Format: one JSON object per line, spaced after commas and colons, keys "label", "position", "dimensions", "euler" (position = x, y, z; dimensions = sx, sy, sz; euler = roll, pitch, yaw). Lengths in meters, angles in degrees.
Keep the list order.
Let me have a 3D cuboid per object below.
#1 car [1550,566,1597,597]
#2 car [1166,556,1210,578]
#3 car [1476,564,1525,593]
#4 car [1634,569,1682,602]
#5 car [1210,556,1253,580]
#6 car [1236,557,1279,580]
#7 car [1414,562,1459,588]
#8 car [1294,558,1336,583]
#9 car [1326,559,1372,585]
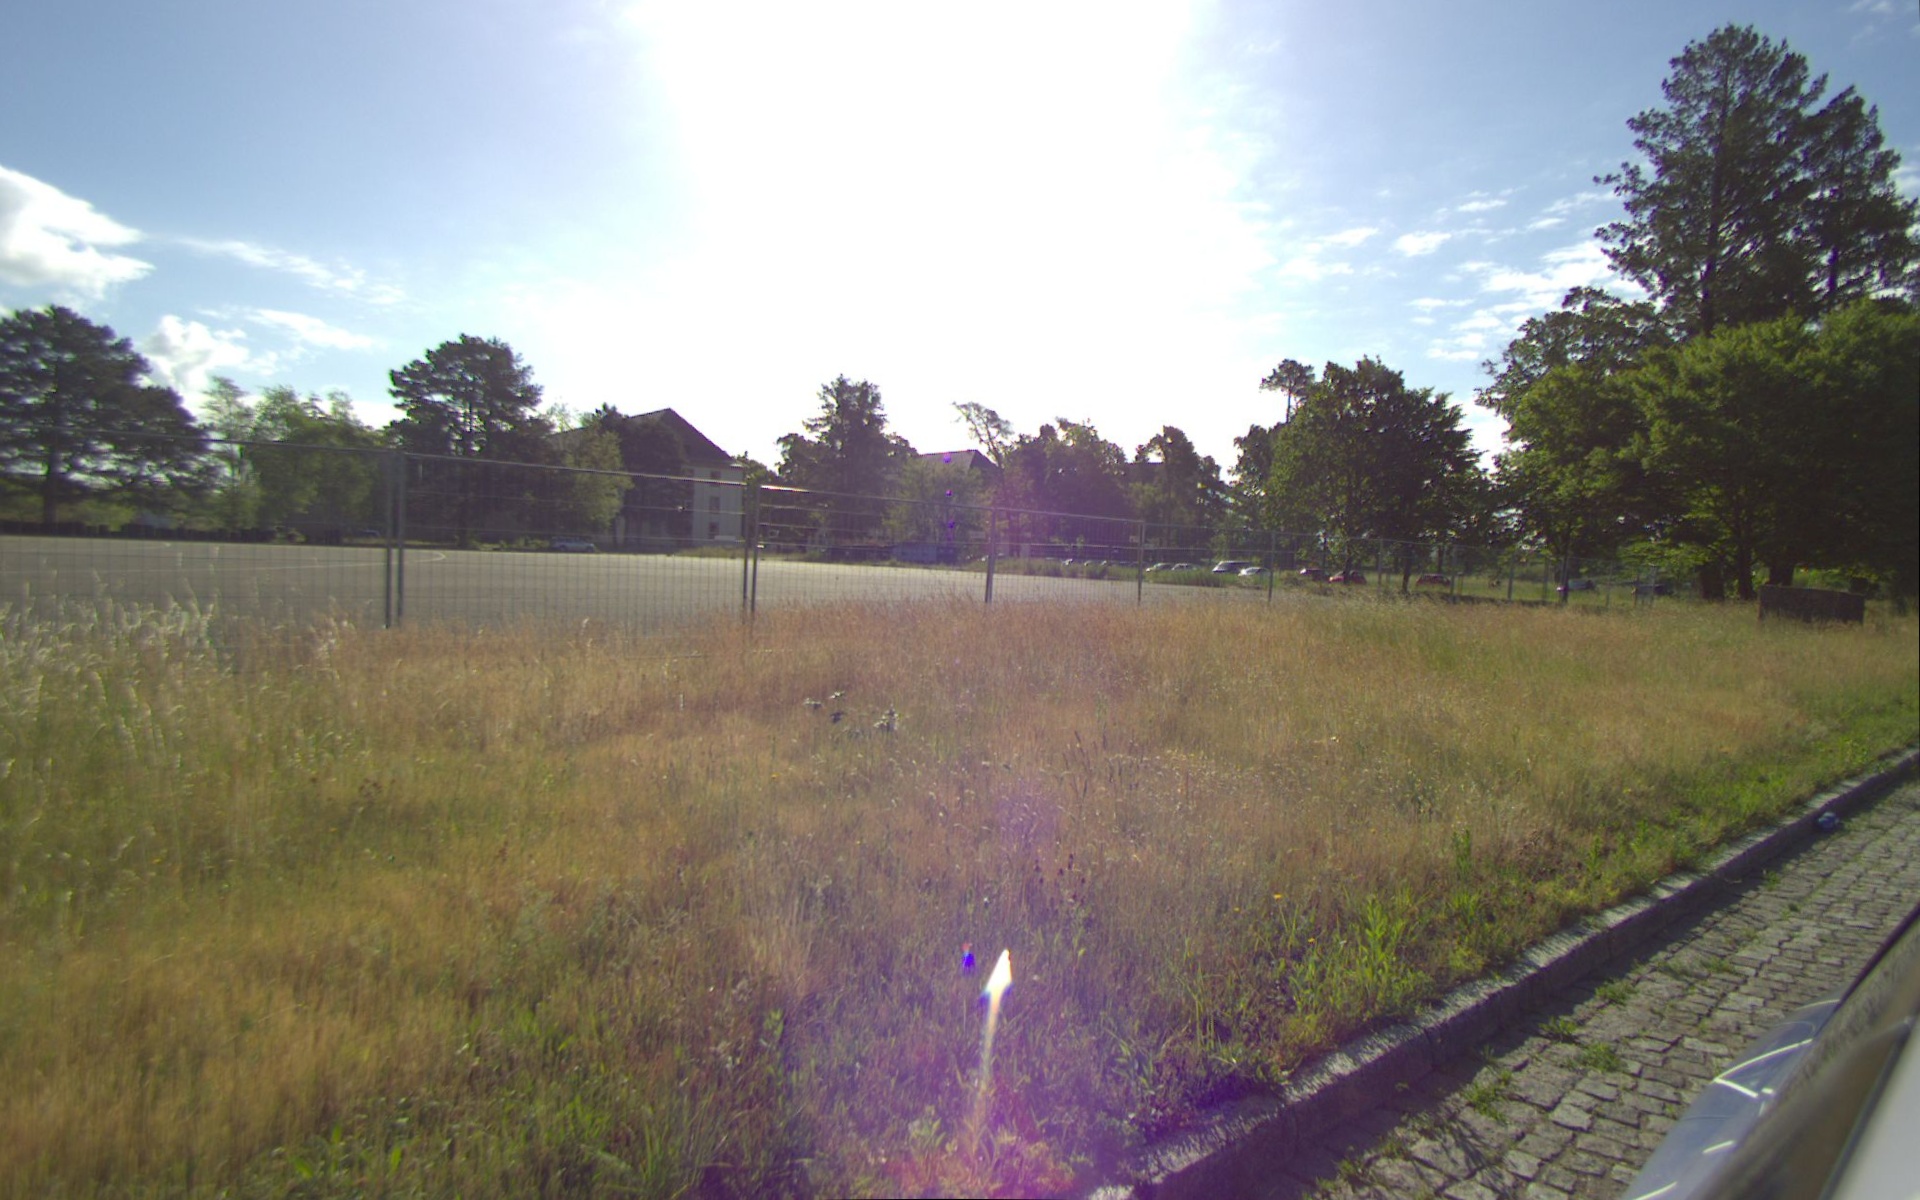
{"label": "car", "position": [43.356, -1.323, 71.461], "dimensions": [1.994, 2.038, 3.937], "euler": [4, 3, 44]}
{"label": "car", "position": [22.184, -3.173, 98.283], "dimensions": [3.922, 2.039, 2.001], "euler": [0, 0, -33]}
{"label": "car", "position": [40.563, -1.581, 75.909], "dimensions": [3.932, 2.038, 1.997], "euler": [0, 3, -42]}
{"label": "car", "position": [46.427, -0.986, 67.292], "dimensions": [1.994, 2.038, 3.937], "euler": [4, 3, 44]}
{"label": "car", "position": [25.197, -2.945, 93.854], "dimensions": [3.931, 2.038, 1.997], "euler": [0, 4, -42]}
{"label": "car", "position": [27.144, -2.872, 92.279], "dimensions": [3.931, 1.971, 1.997], "euler": [0, 4, -42]}
{"label": "car", "position": [37.365, -1.949, 79.270], "dimensions": [1.994, 1.838, 3.937], "euler": [4, 3, 44]}
{"label": "car", "position": [30.647, -2.507, 87.220], "dimensions": [1.993, 2.038, 3.940], "euler": [4, 3, 42]}
{"label": "car", "position": [32.740, -2.349, 85.124], "dimensions": [3.930, 2.038, 1.998], "euler": [0, 3, -41]}
